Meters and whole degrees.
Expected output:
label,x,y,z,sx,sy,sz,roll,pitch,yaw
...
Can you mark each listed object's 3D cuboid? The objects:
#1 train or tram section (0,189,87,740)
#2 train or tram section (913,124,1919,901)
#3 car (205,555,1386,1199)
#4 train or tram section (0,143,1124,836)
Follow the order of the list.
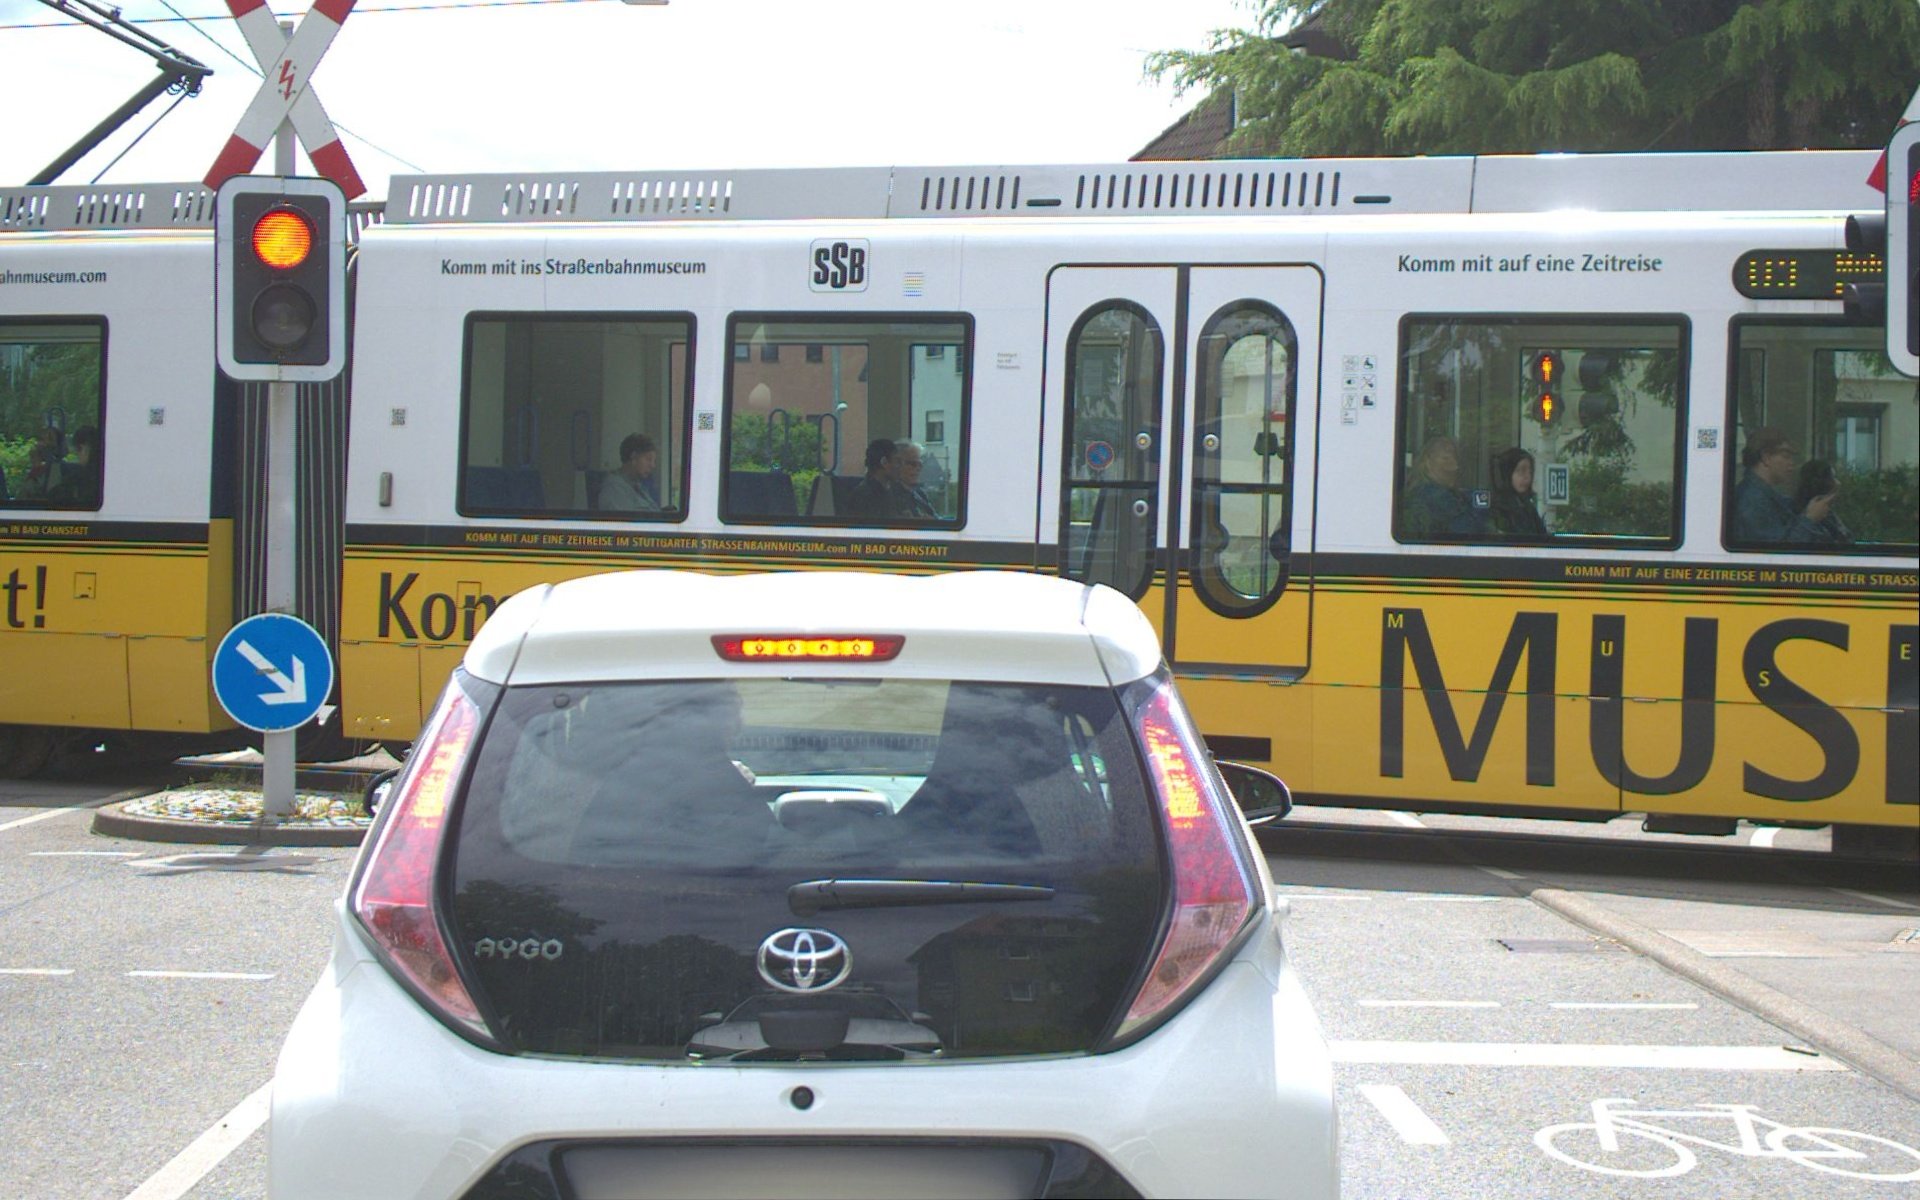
label,x,y,z,sx,sy,sz,roll,pitch,yaw
train or tram section,-10.235,-1.050,24.120,7.700,3.709,2.866,2,1,23
train or tram section,3.908,-0.475,18.250,7.700,3.709,2.866,2,1,23
car,-0.251,0.665,6.738,1.621,1.481,4.000,0,1,-1
train or tram section,-3.158,-0.741,21.189,7.700,3.709,2.866,2,1,23
